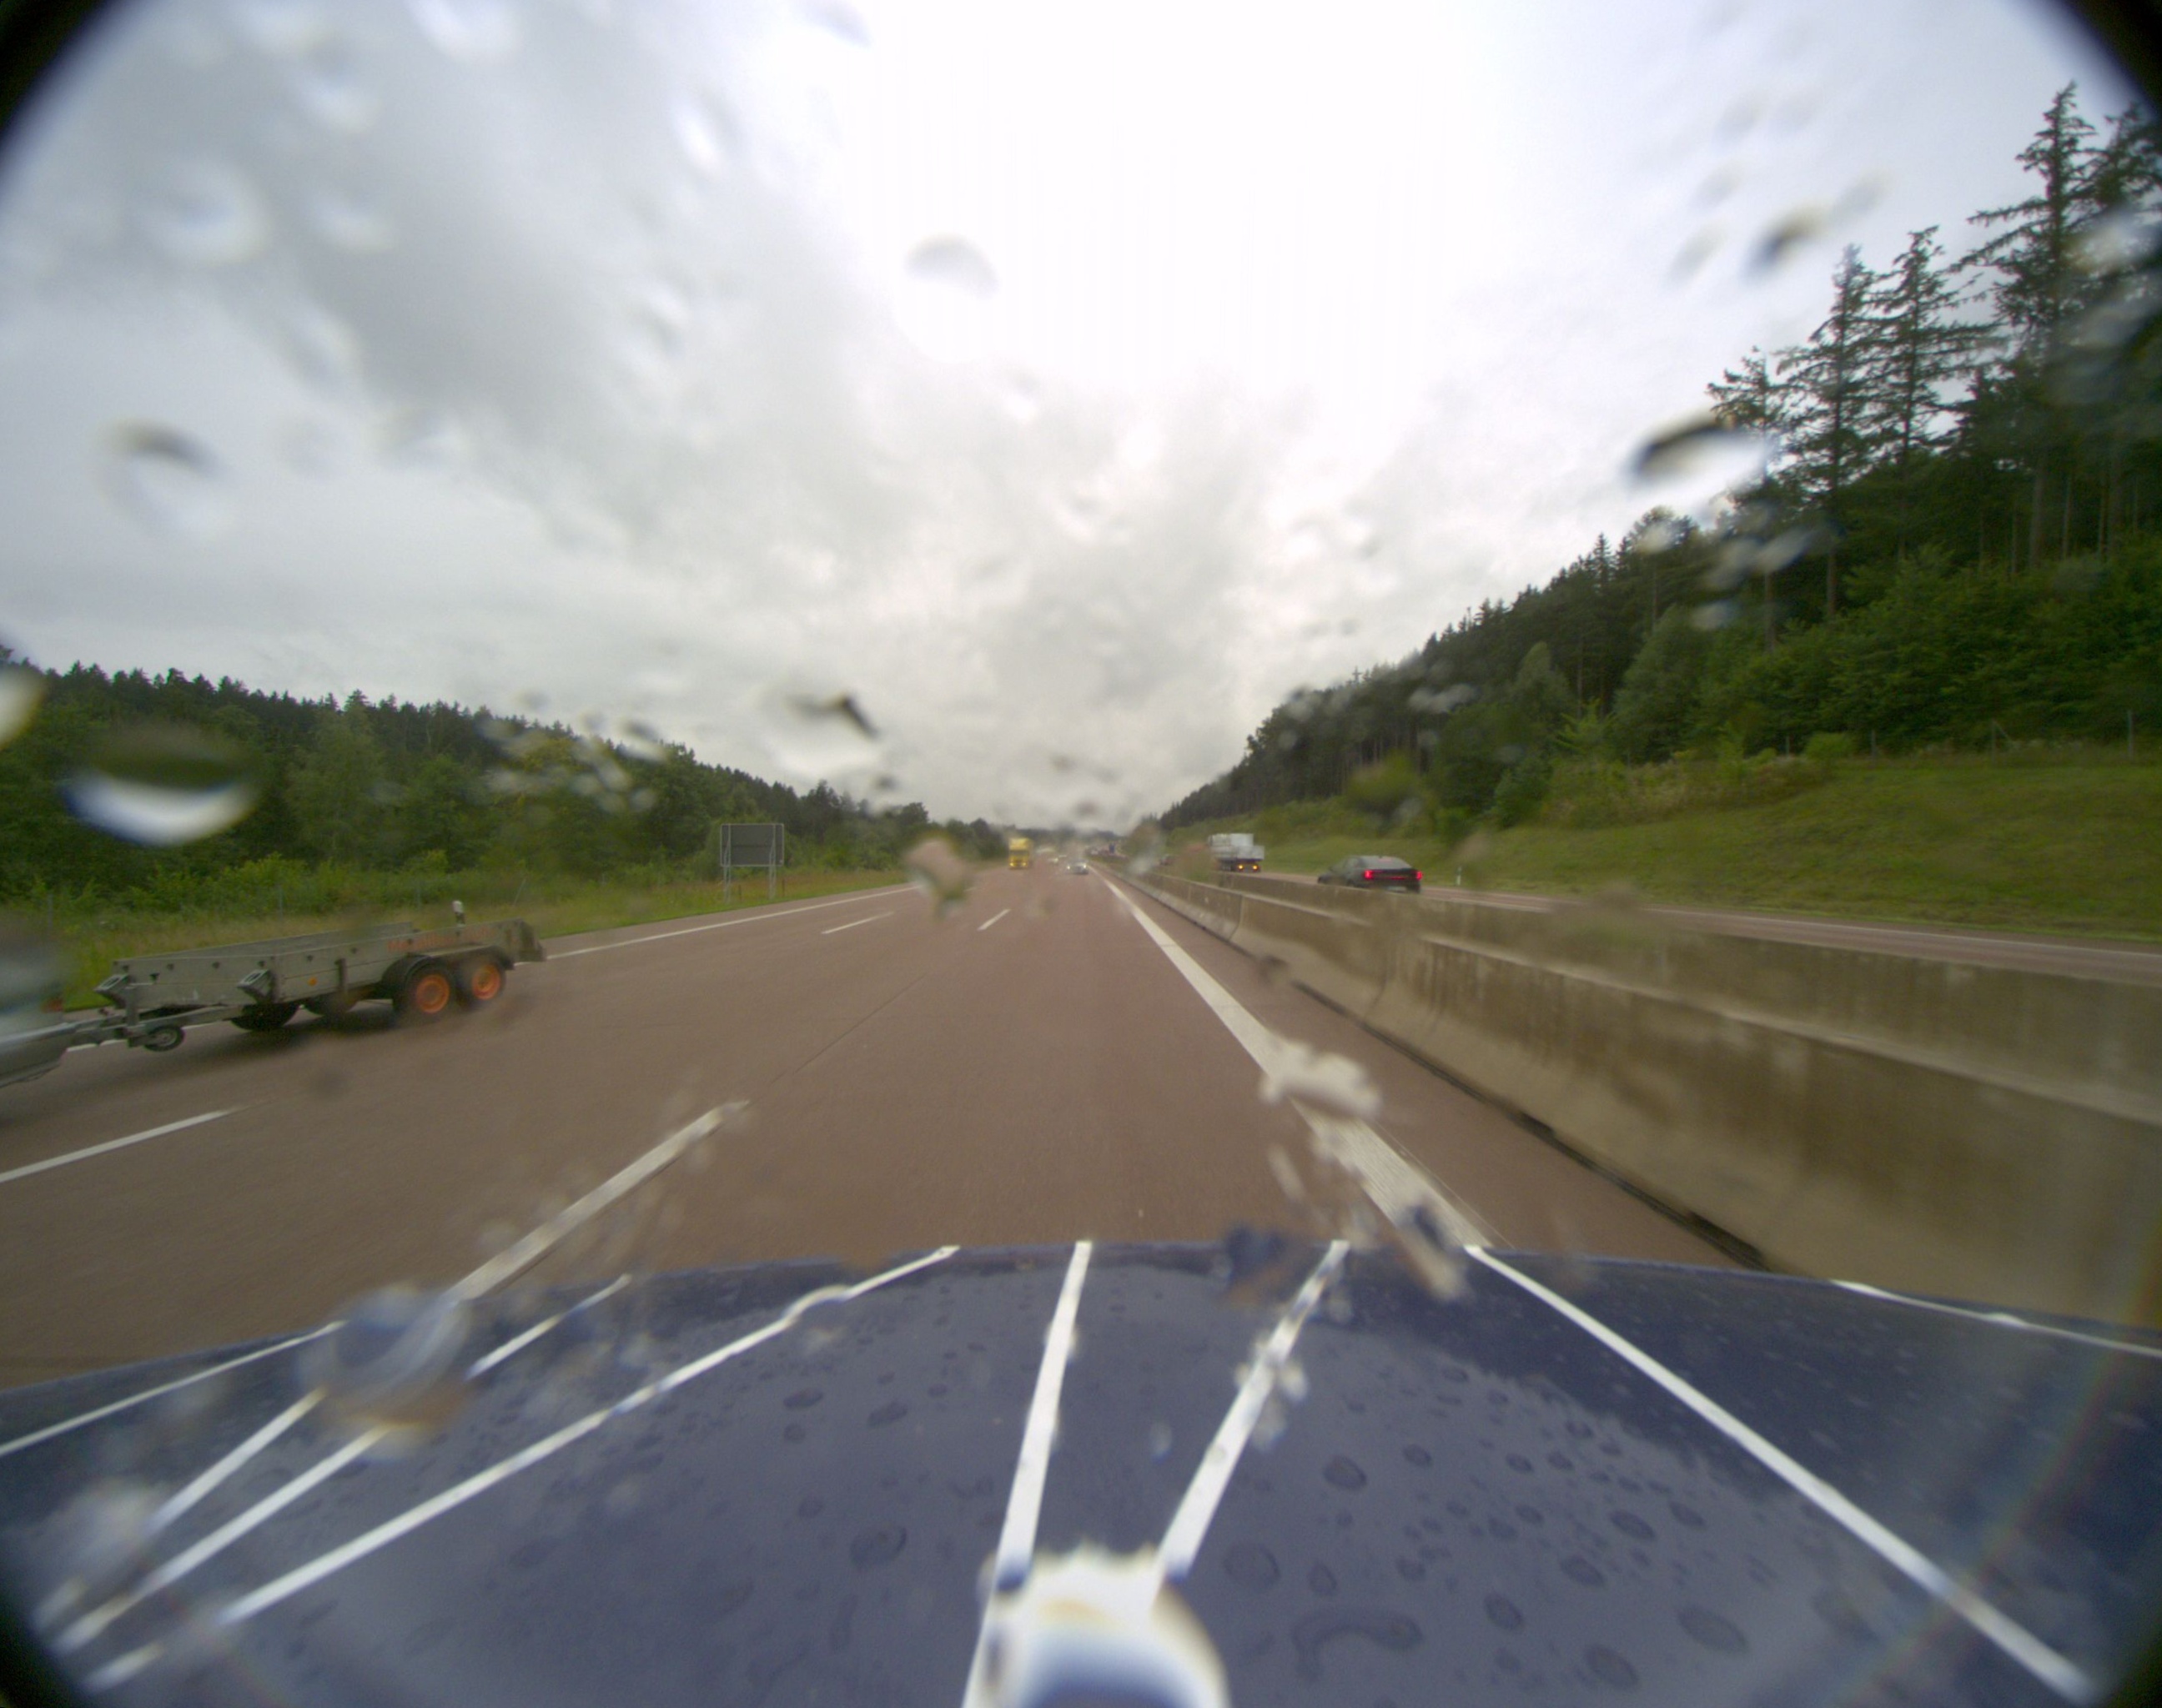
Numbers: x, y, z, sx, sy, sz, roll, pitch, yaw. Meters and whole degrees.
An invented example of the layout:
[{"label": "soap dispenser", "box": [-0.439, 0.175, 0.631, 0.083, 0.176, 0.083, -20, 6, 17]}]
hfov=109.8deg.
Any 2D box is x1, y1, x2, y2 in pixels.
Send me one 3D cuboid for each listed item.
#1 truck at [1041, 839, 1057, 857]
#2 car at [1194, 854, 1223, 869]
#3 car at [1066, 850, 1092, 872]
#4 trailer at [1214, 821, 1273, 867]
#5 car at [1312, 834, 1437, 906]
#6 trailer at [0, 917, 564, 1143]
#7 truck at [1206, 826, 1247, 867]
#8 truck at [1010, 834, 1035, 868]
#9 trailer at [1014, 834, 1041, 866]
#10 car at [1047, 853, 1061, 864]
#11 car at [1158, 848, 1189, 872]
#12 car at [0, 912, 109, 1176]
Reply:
[{"label": "truck", "box": [-8.455, -1.665, 202.365, 3.190, 4.349, 14.700, -2, 1, 1]}, {"label": "car", "box": [11.753, 0.665, 70.388, 1.823, 1.361, 5.114, -1, 0, -1]}, {"label": "car", "box": [-0.129, 0.523, 64.855, 1.998, 1.623, 4.930, -2, 2, 1]}, {"label": "trailer", "box": [16.391, -0.894, 77.798, 2.941, 4.250, 12.944, 2, 0, -1]}, {"label": "car", "box": [8.598, 0.361, 22.847, 1.781, 1.846, 5.320, -2, 2, 2]}, {"label": "trailer", "box": [-7.802, 1.449, 7.622, 1.976, 1.159, 4.639, -2, 0, 1]}, {"label": "truck", "box": [16.296, -0.806, 85.860, 2.972, 4.295, 7.649, 2, 0, -1]}, {"label": "truck", "box": [-7.839, -0.468, 101.901, 2.610, 4.190, 6.248, -2, 2, 1]}, {"label": "trailer", "box": [-7.687, -0.695, 110.862, 2.572, 4.205, 14.076, -2, 1, 1]}, {"label": "car", "box": [-4.458, 0.662, 126.472, 1.998, 1.623, 4.930, -2, 2, 1]}, {"label": "car", "box": [8.121, 0.466, 67.009, 1.823, 1.831, 6.236, -2, 1, -1]}, {"label": "car", "box": [-7.622, 1.273, 2.758, 1.702, 1.602, 4.975, -1, 1, 0]}]
